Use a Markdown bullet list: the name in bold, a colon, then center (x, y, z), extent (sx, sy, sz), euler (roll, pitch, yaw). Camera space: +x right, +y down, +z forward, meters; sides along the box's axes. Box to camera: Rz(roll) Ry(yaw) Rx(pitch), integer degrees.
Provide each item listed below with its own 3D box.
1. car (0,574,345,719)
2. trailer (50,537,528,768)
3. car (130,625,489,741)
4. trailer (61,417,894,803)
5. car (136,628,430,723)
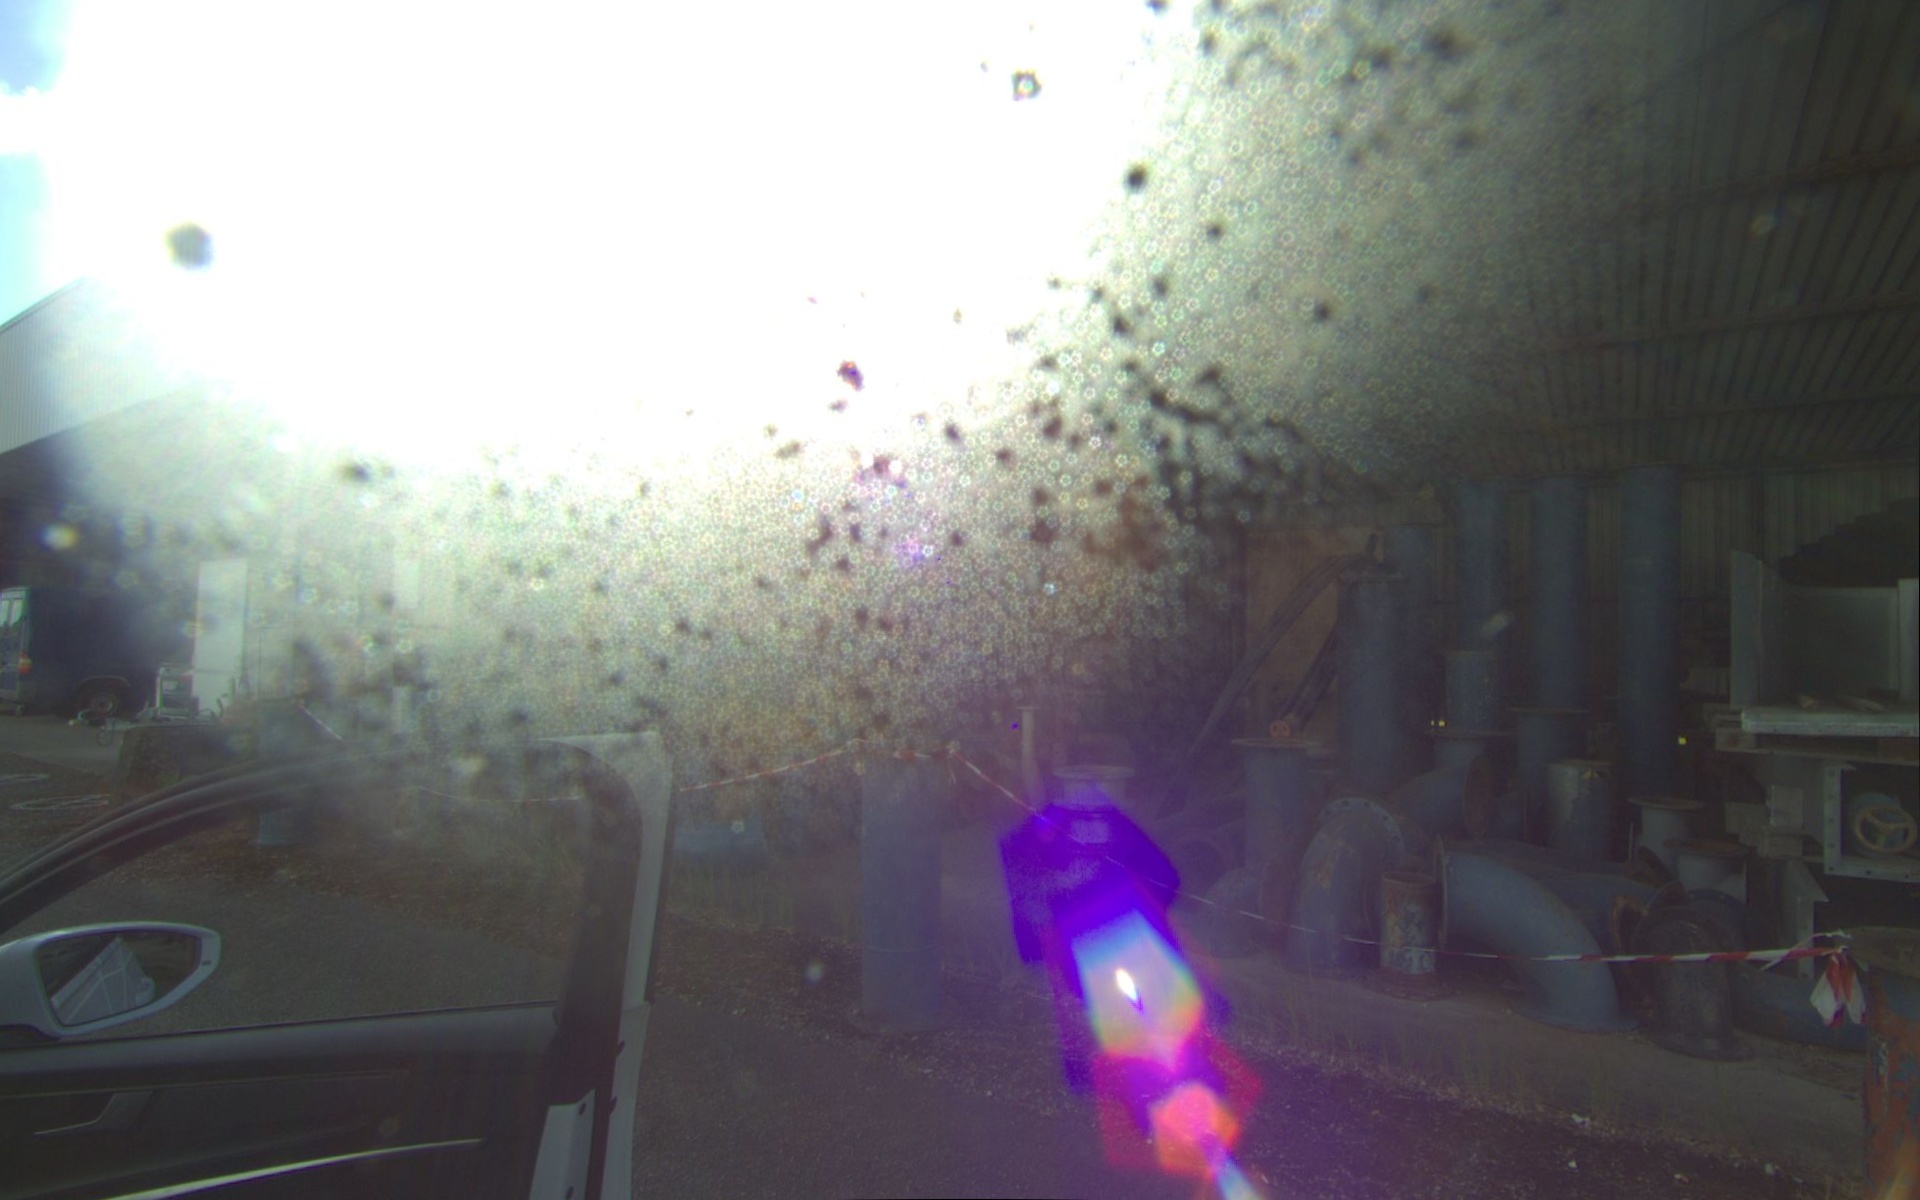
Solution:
- **car**: center (-14.764, 0.889, 18.901), extent (1.973, 2.354, 4.969), euler (-1, -3, 34)
- **trailer**: center (-8.368, 0.663, 12.958), extent (1.804, 2.421, 4.796), euler (-1, -3, 38)
- **car**: center (-9.816, 1.199, 15.488), extent (1.751, 1.514, 4.324), euler (-1, -3, 31)
- **trailer**: center (-5.051, 0.312, 13.425), extent (2.814, 3.256, 10.018), euler (-1, -3, 34)
- **car**: center (-11.914, 1.291, 17.907), extent (1.761, 1.491, 3.985), euler (-1, -3, 29)
